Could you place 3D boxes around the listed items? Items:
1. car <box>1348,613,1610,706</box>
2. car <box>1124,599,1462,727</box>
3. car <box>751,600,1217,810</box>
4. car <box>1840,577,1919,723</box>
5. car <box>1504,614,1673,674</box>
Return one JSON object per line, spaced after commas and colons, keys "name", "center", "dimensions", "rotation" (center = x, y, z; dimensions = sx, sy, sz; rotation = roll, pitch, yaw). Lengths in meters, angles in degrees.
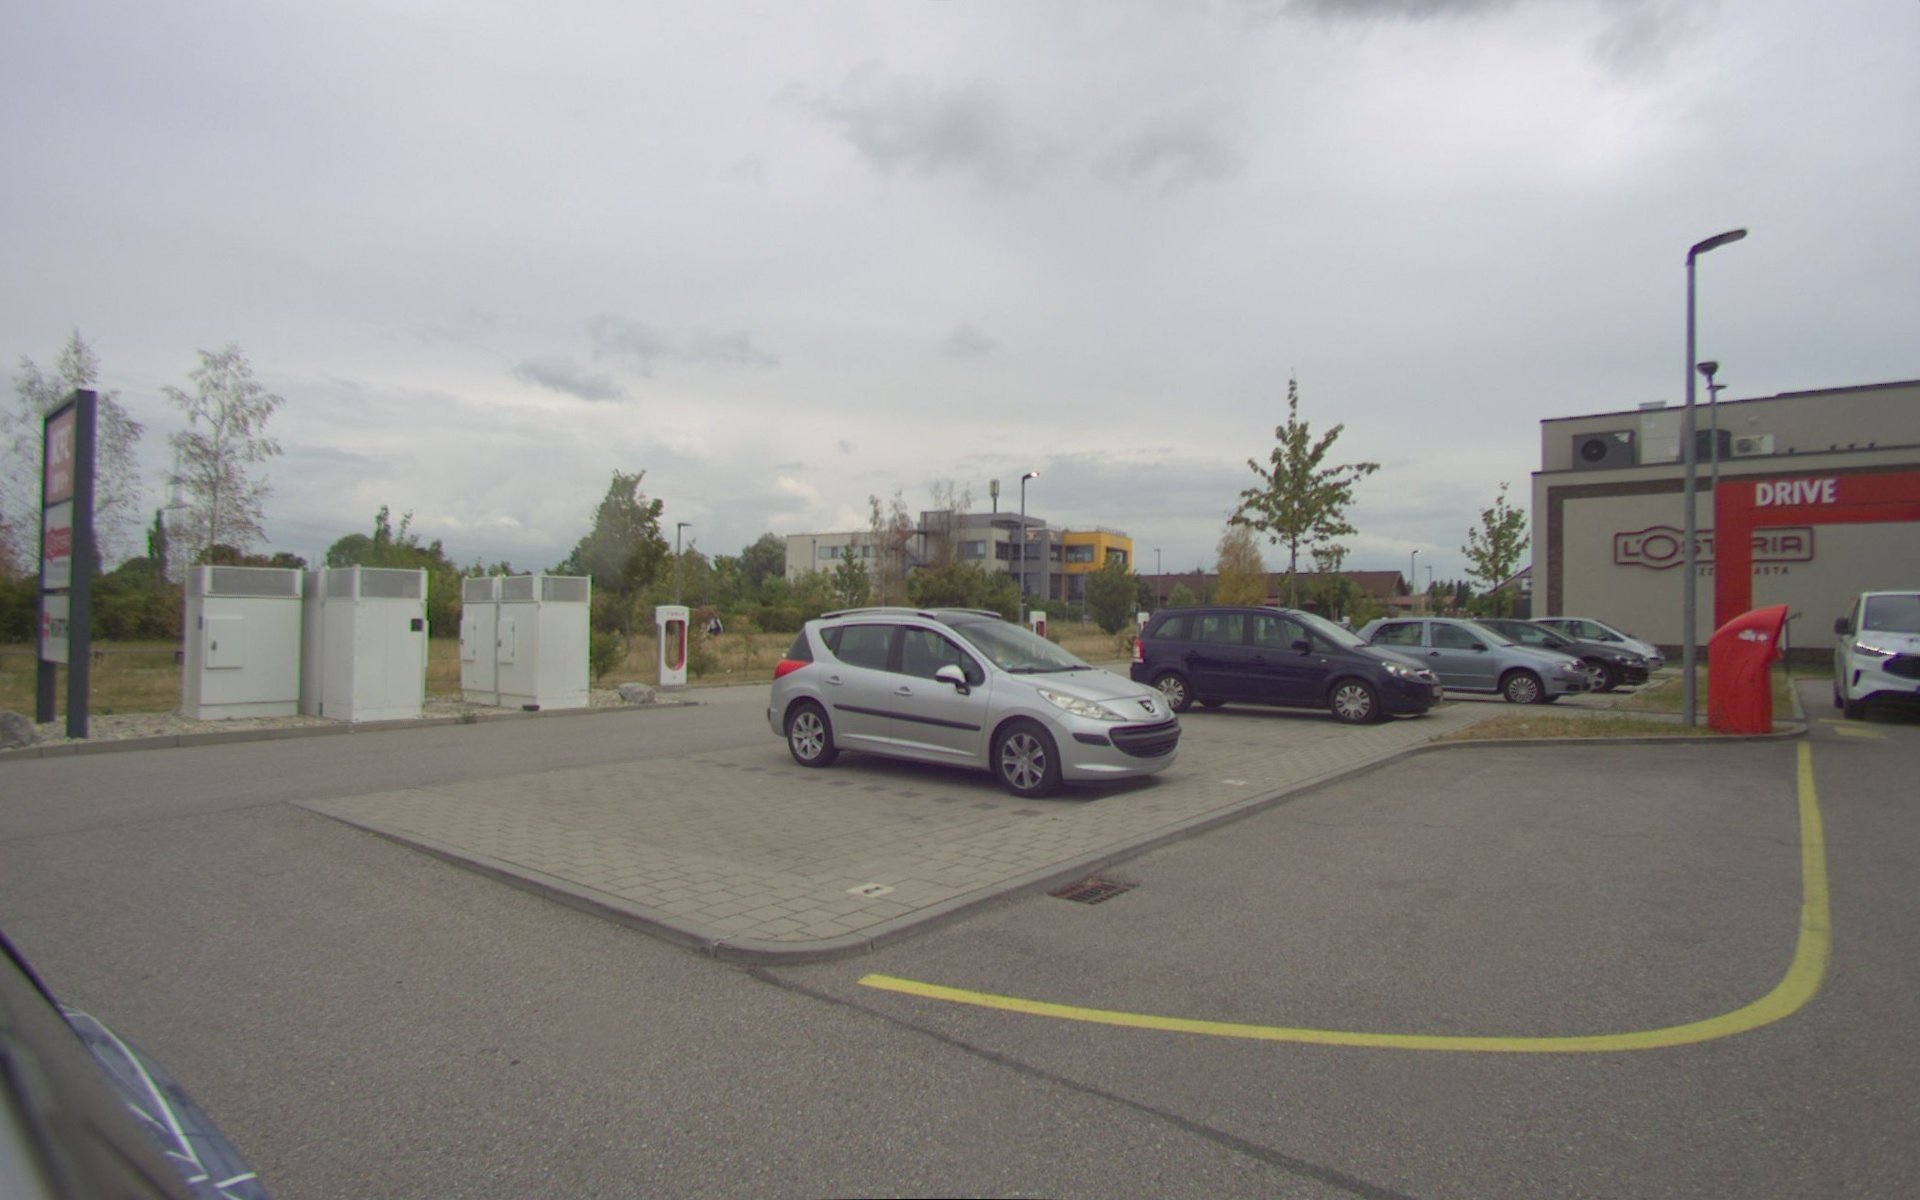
{"name": "car", "center": [8.687, 0.984, 17.130], "dimensions": [3.682, 1.405, 1.412], "rotation": [-3, -3, 42]}
{"name": "car", "center": [4.769, 0.860, 14.901], "dimensions": [4.481, 1.629, 1.565], "rotation": [-1, -2, 39]}
{"name": "car", "center": [0.066, 0.812, 9.264], "dimensions": [4.164, 1.516, 1.608], "rotation": [-1, -2, 39]}
{"name": "car", "center": [14.733, 0.730, 15.155], "dimensions": [2.280, 1.946, 5.053], "rotation": [-1, -2, 41]}
{"name": "car", "center": [17.795, 1.245, 28.732], "dimensions": [3.840, 1.586, 1.802], "rotation": [-3, -3, 40]}
